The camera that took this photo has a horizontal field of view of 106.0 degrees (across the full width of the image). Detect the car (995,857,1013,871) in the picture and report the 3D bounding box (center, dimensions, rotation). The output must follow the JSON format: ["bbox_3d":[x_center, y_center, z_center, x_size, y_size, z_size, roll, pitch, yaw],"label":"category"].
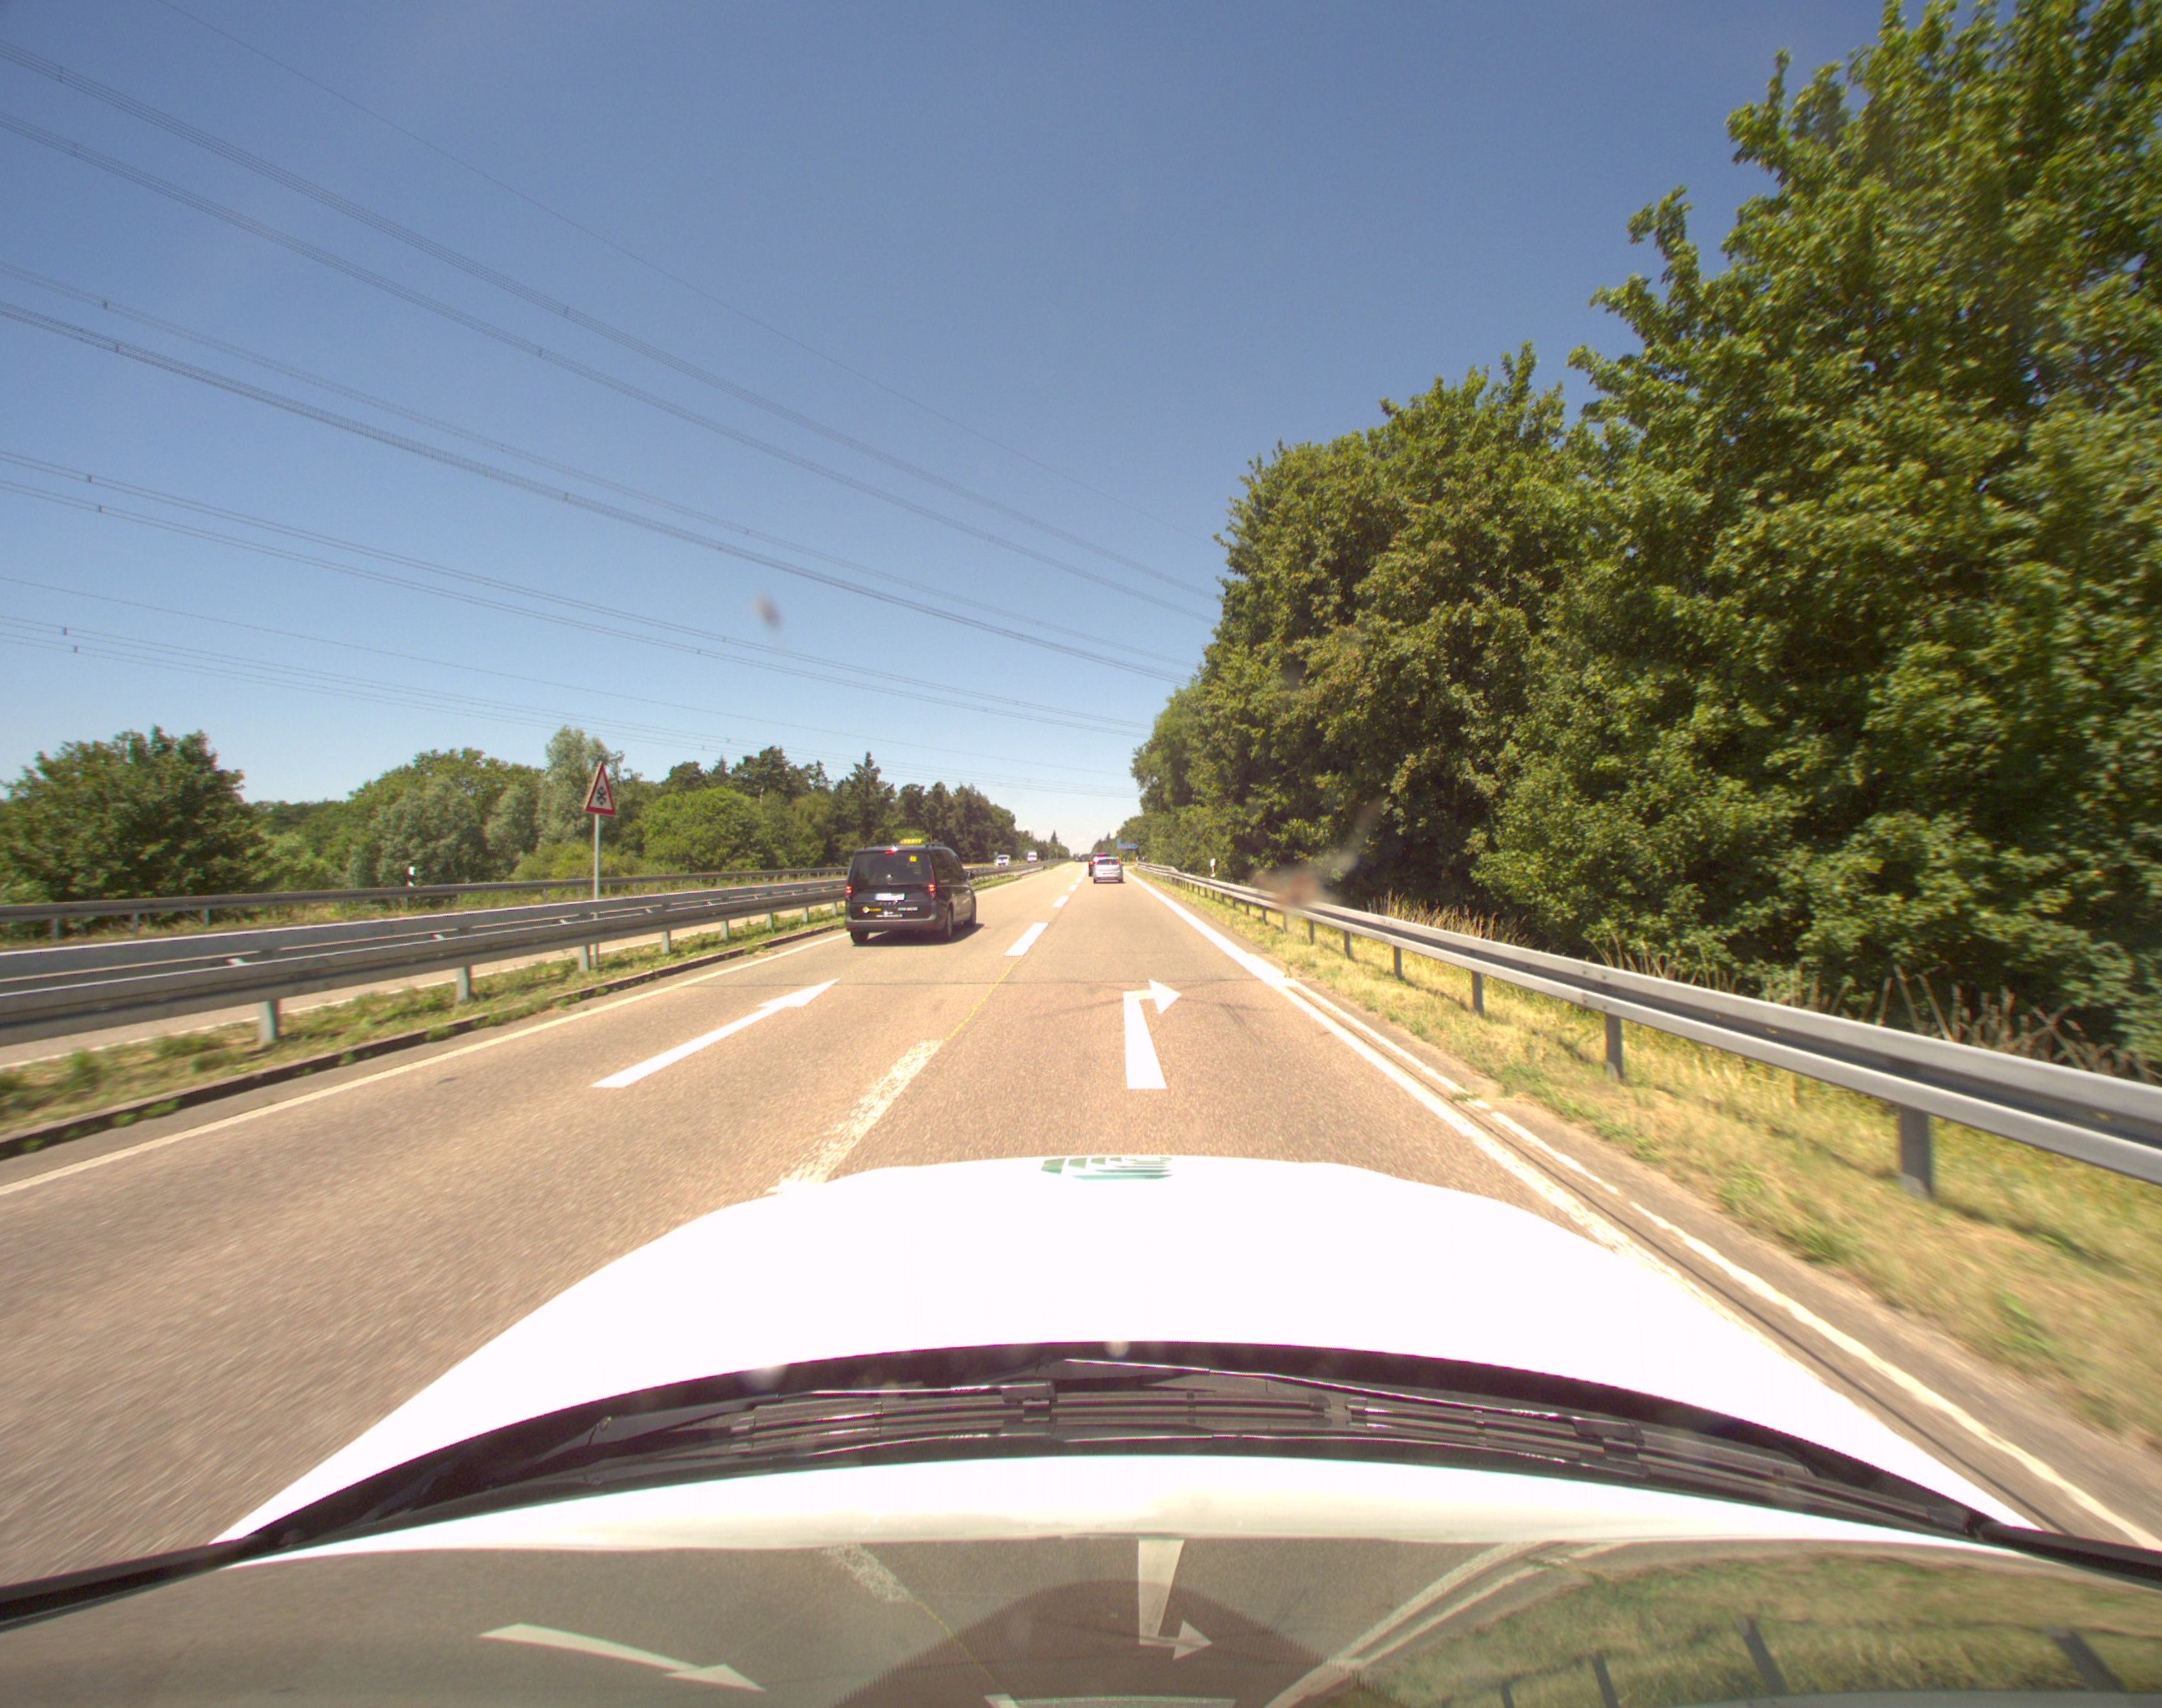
[{"bbox_3d":[-11.354,1.419,120.331,1.884,1.992,5.536,-1,0,2],"label":"car"}]

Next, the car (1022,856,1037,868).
[{"bbox_3d":[-11.997,1.952,190.503,2.514,2.618,7.191,-2,-1,3],"label":"car"}]

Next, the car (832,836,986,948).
[{"bbox_3d":[-3.270,0.671,16.712,1.848,1.887,5.574,-1,-1,1],"label":"car"}]

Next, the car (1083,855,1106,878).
[{"bbox_3d":[1.016,0.956,61.793,1.635,1.654,3.573,2,0,0],"label":"car"}]

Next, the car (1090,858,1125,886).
[{"bbox_3d":[1.451,0.988,45.987,1.636,1.468,3.415,2,0,-3],"label":"car"}]

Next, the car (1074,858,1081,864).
[{"bbox_3d":[-1.013,1.772,214.579,1.706,1.471,3.574,2,0,1],"label":"car"}]
